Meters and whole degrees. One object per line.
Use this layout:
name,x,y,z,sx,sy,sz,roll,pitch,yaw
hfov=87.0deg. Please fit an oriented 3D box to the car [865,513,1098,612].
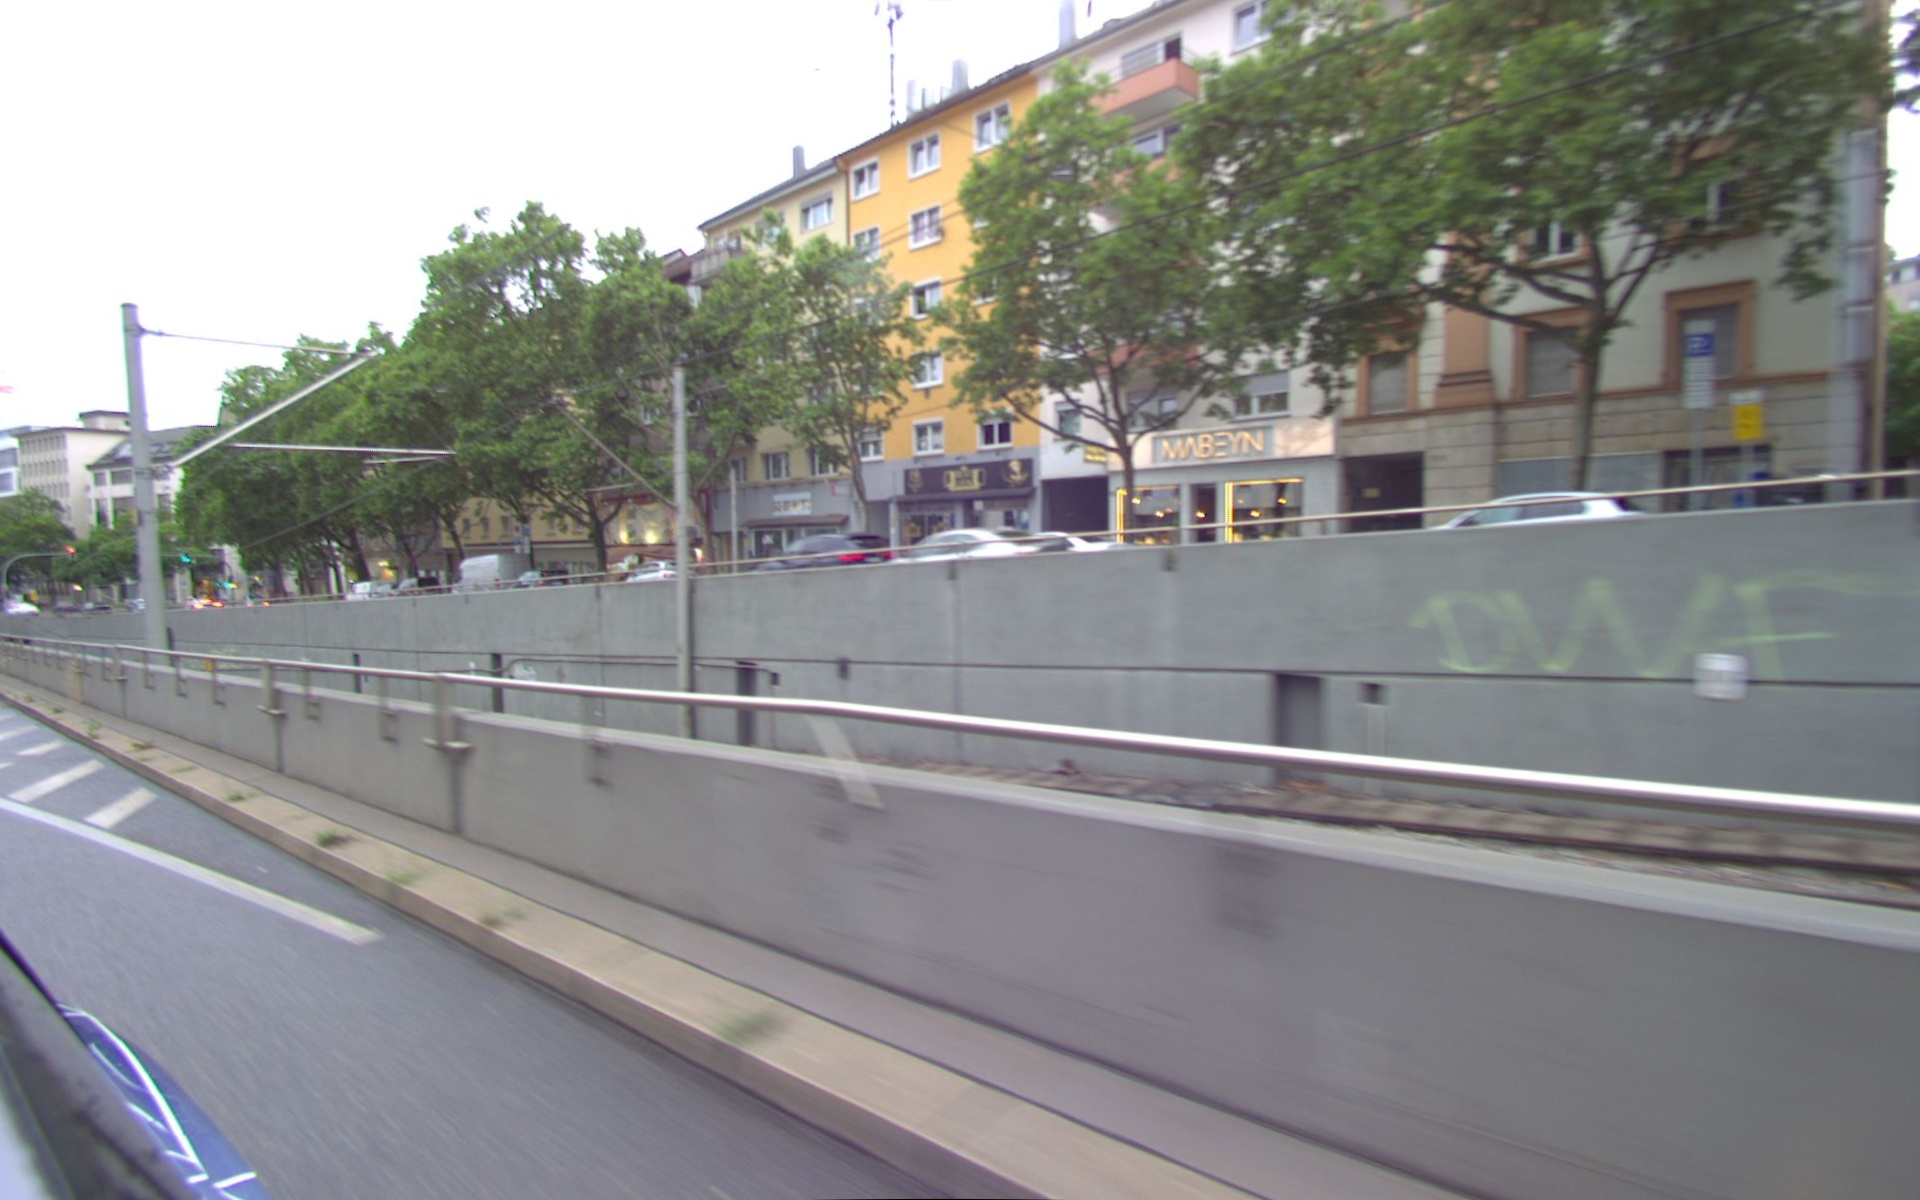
car,0.318,-0.646,18.520,3.999,1.521,1.776,-2,3,42

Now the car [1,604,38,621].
car,-104.156,1.374,112.096,4.716,1.783,1.781,-1,3,32

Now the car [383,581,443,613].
car,-33.656,-0.178,62.245,4.204,1.741,1.776,-2,3,41

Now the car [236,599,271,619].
car,-62.604,0.815,89.609,1.825,1.521,4.020,-6,3,-44

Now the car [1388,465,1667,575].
car,10.281,-1.410,18.513,4.112,1.623,1.775,-2,3,43

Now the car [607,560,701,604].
car,-12.662,-0.729,41.745,4.209,1.582,1.775,-2,3,44

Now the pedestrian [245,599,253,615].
pedestrian,-82.813,0.773,117.827,0.582,1.822,0.675,-6,4,-42

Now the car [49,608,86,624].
car,-101.334,1.813,114.900,3.983,1.521,1.783,-2,4,29

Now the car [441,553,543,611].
car,-25.062,-0.905,54.015,6.933,2.681,2.426,-2,3,44

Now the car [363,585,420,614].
car,-36.952,-0.011,65.752,4.472,1.595,1.857,-2,3,43

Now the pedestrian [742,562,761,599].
pedestrian,-10.220,-0.946,49.582,0.517,1.760,0.622,-8,5,-39

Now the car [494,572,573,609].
car,-20.900,-0.445,49.555,4.673,1.521,1.775,-2,3,44

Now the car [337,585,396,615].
car,-40.707,0.002,69.335,4.896,1.777,1.859,-2,3,40

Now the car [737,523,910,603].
car,-3.827,-0.969,27.729,4.970,1.866,1.935,-2,3,45

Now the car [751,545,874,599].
car,-4.981,-0.923,33.855,4.209,1.521,1.775,-2,3,44

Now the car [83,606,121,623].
car,-85.170,1.439,100.456,4.334,1.521,1.779,-1,3,35

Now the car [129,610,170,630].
car,-73.775,1.827,92.066,4.816,1.521,1.829,-2,3,39

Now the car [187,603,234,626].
car,-56.820,1.120,76.666,4.884,1.521,2.004,-2,3,44
